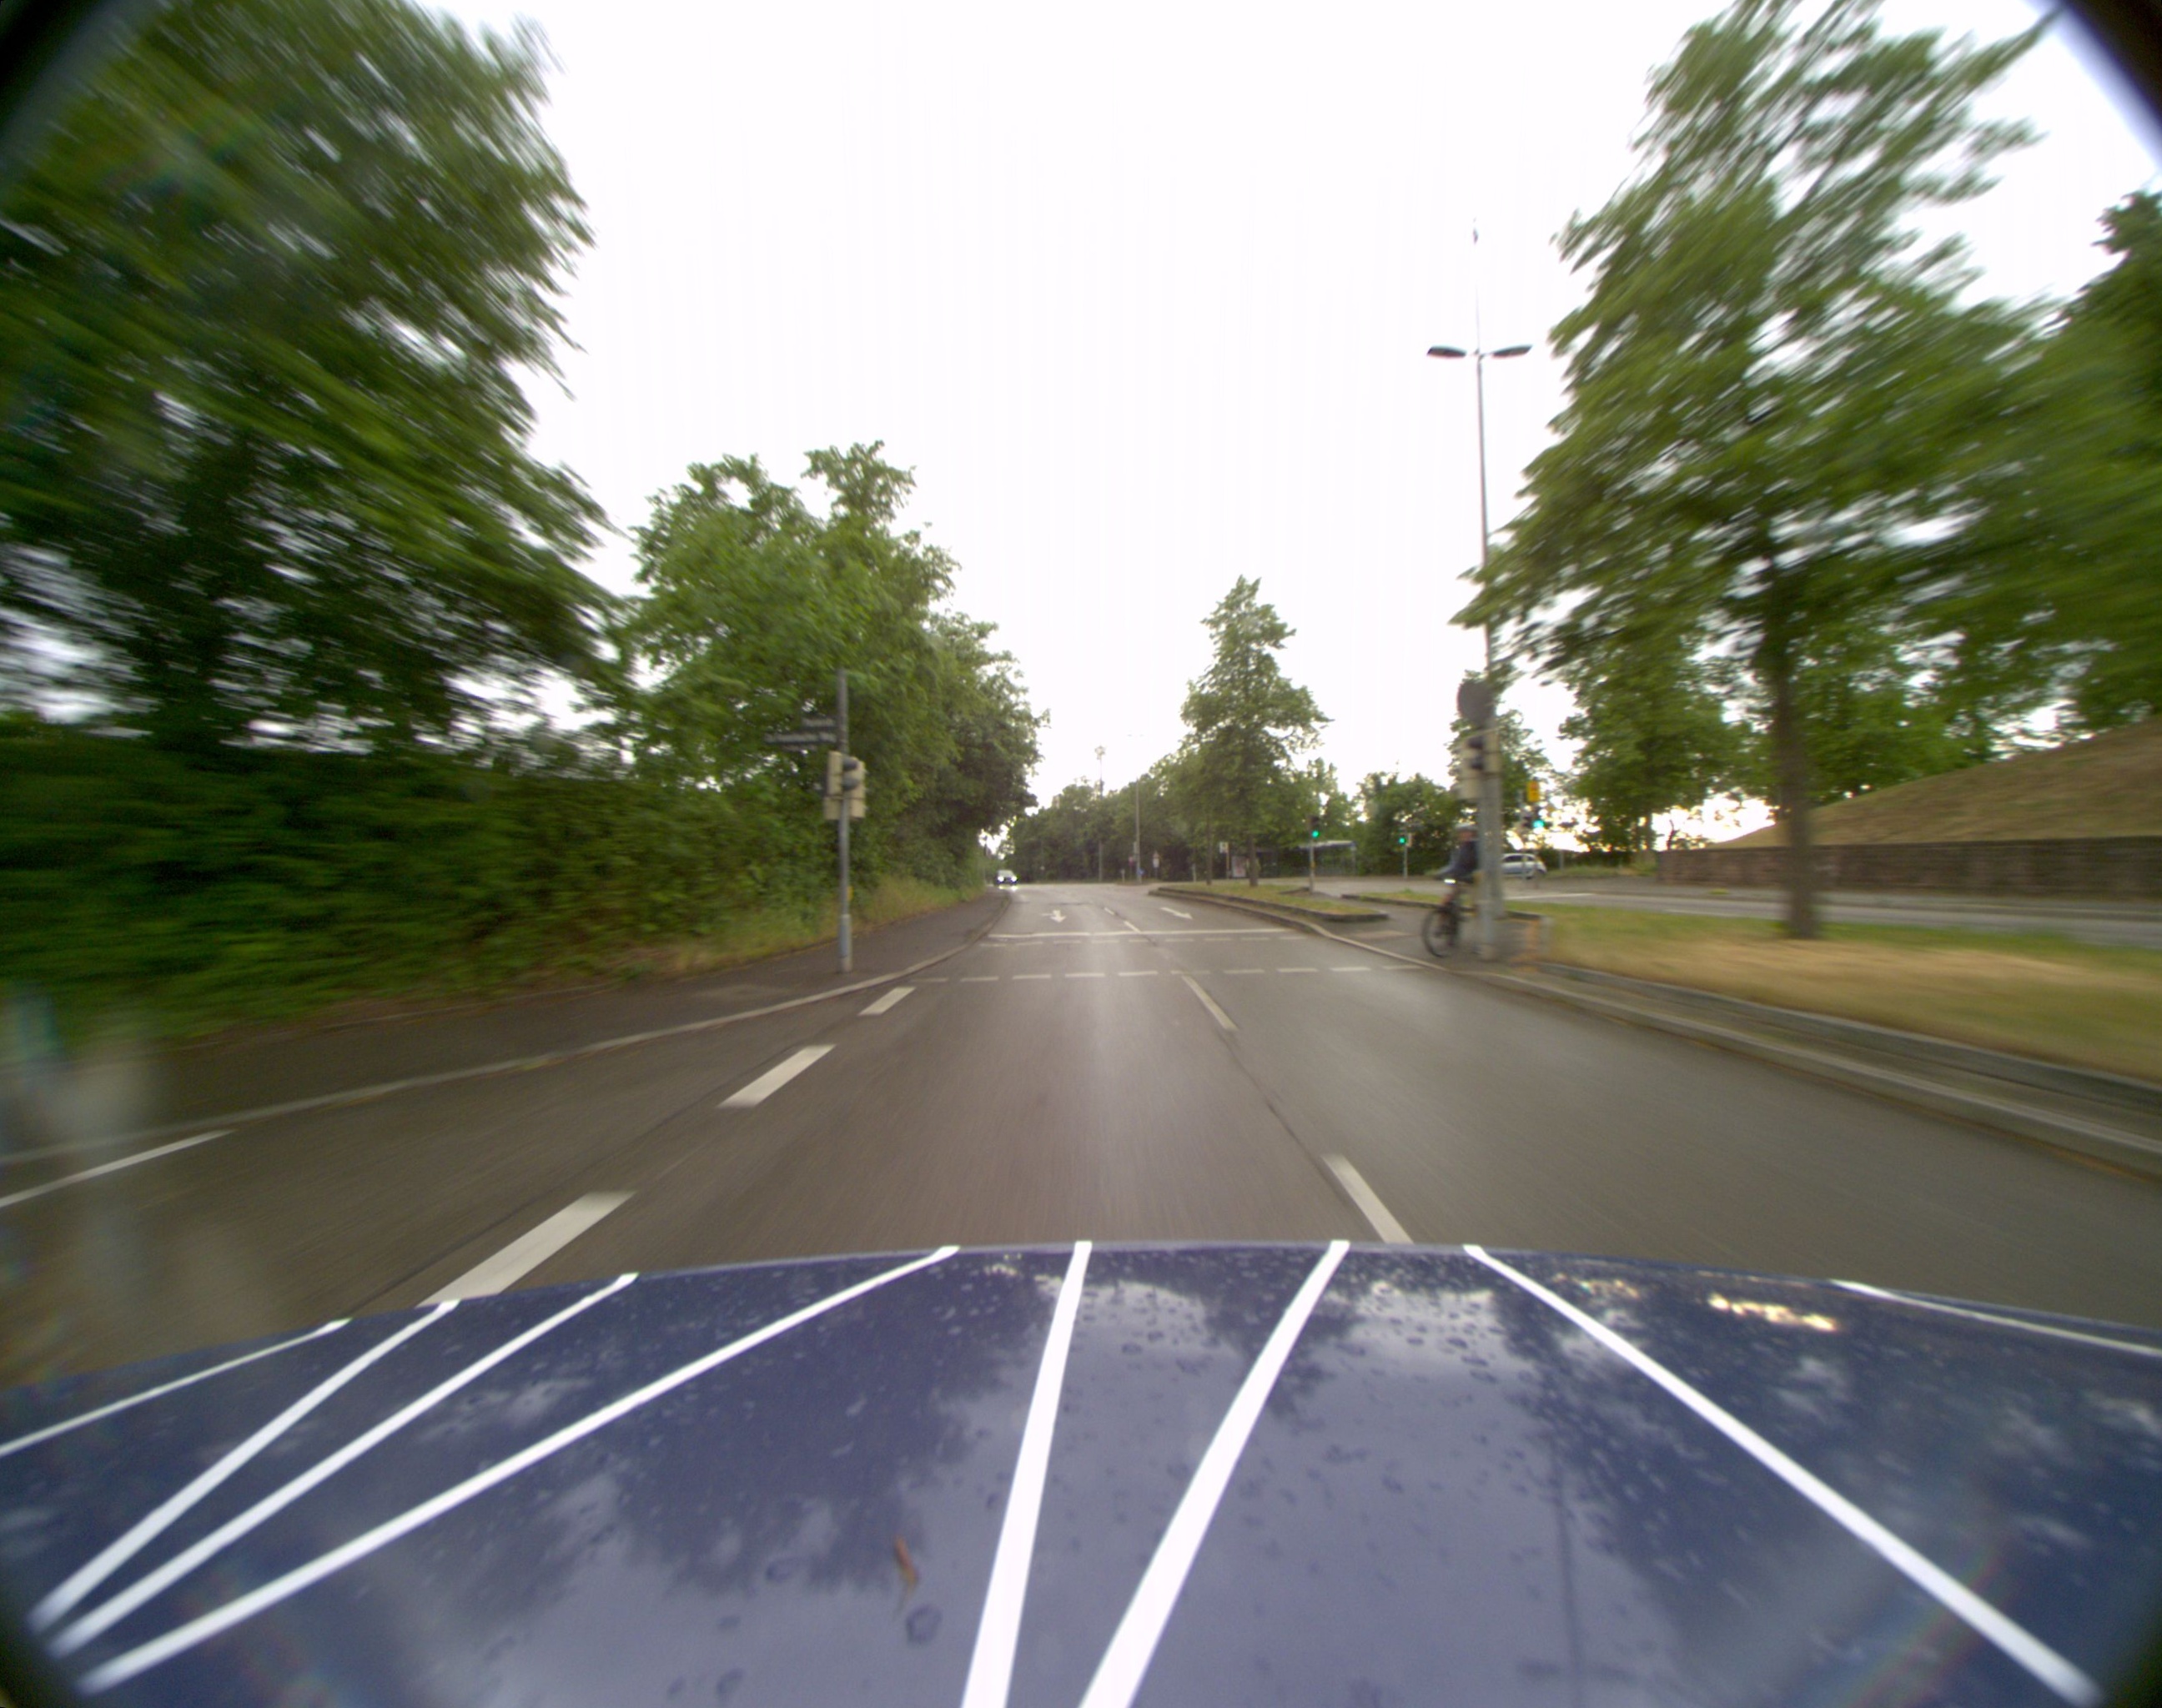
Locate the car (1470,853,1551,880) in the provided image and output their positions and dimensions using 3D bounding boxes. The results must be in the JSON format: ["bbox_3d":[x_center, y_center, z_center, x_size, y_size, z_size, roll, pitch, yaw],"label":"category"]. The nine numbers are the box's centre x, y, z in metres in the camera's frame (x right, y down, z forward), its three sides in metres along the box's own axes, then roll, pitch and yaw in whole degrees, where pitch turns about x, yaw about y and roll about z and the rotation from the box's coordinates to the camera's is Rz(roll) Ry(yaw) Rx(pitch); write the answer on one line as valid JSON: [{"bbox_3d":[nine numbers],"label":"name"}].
[{"bbox_3d":[24.804,0.709,44.021,3.692,1.469,1.763,-2,0,10],"label":"car"}]

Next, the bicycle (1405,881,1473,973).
[{"bbox_3d":[5.313,1.017,11.197,0.552,1.136,2.144,-1,0,34],"label":"bicycle"}]

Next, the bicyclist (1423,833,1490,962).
[{"bbox_3d":[5.356,0.582,10.831,0.723,1.742,0.803,2,3,34],"label":"bicyclist"}]

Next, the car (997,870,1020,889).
[{"bbox_3d":[-6.620,2.358,69.606,1.999,1.576,4.000,2,-3,-5],"label":"car"}]
